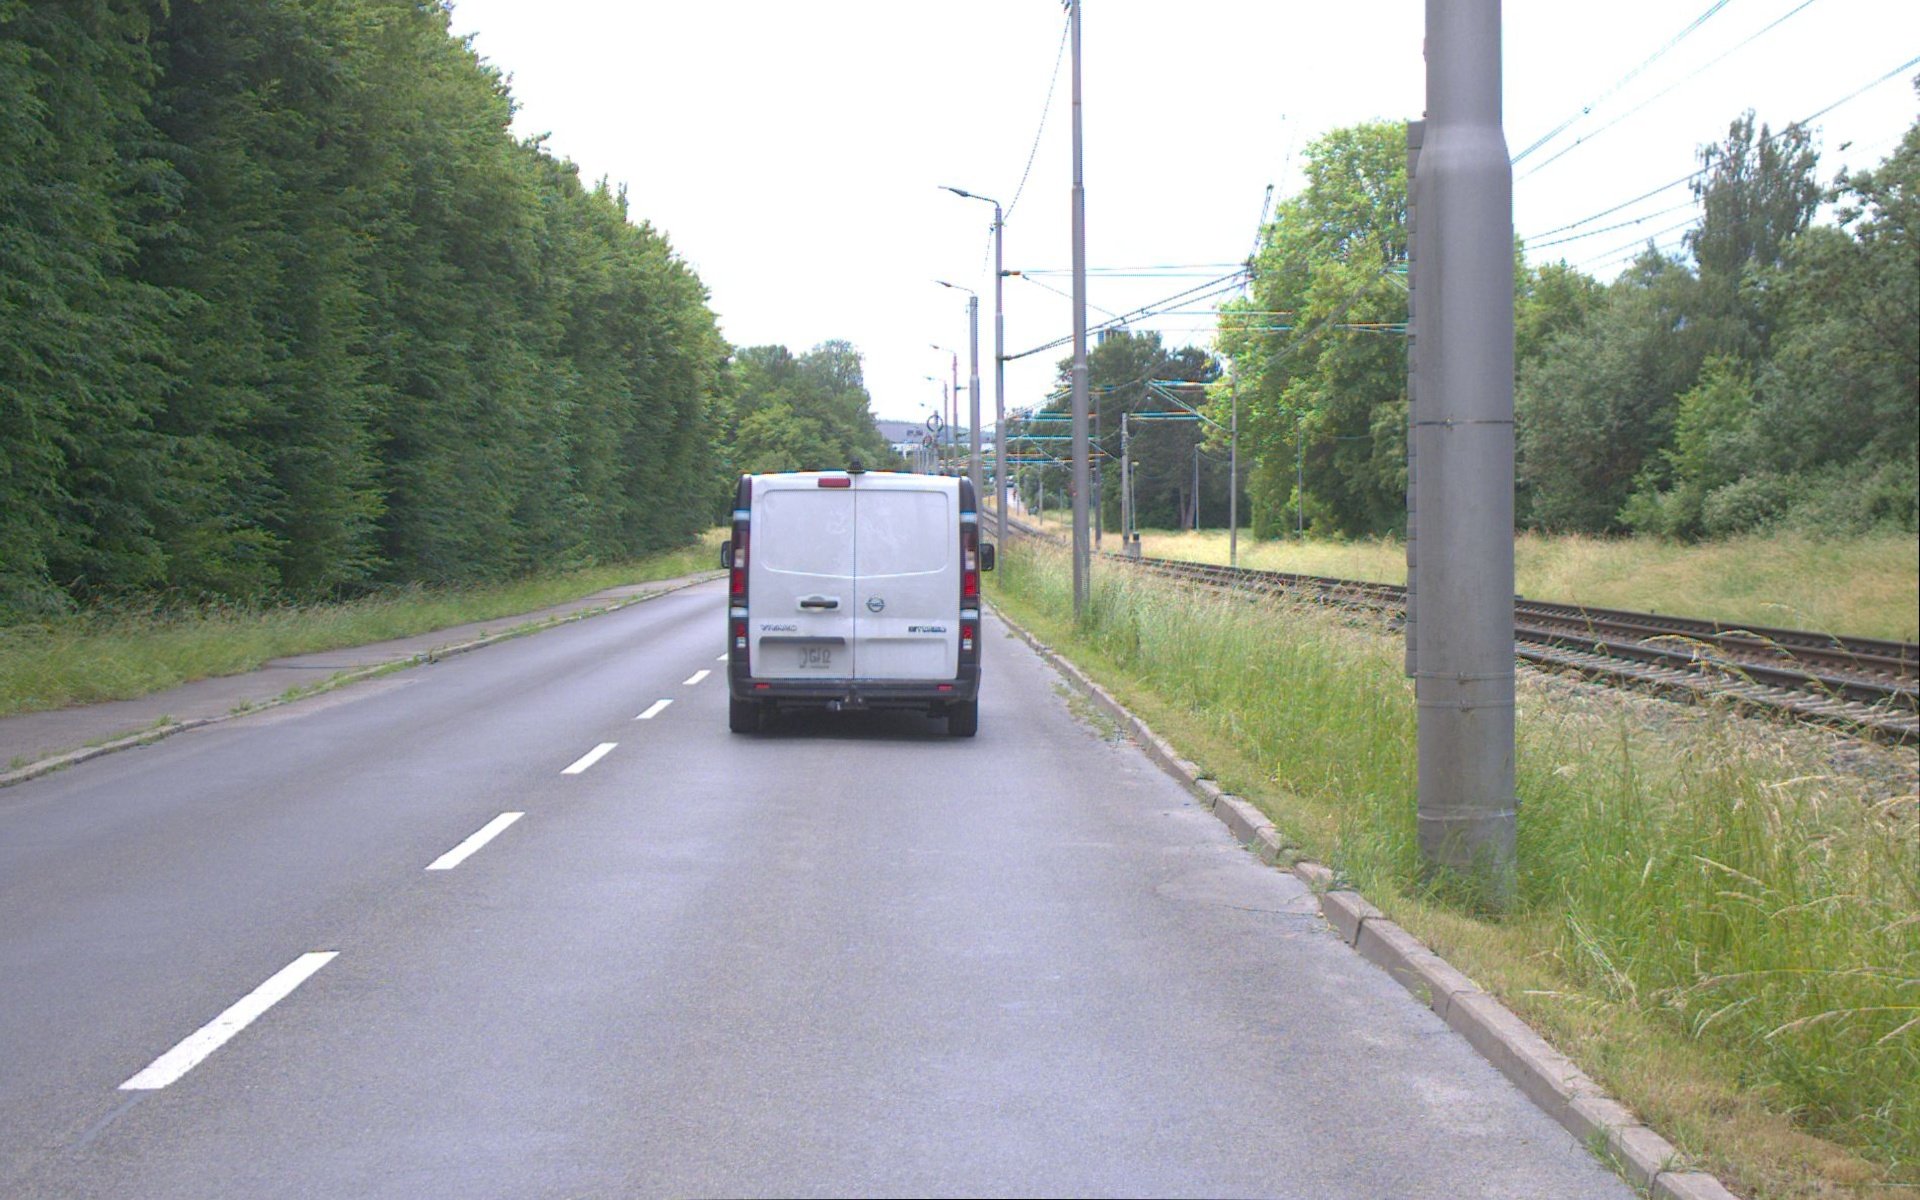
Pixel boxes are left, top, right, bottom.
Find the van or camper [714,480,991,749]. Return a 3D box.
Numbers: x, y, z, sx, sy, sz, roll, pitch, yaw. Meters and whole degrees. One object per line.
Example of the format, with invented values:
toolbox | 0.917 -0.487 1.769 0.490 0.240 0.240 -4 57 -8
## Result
van or camper | -0.873 0.056 26.378 1.942 1.890 4.285 0 1 -3
